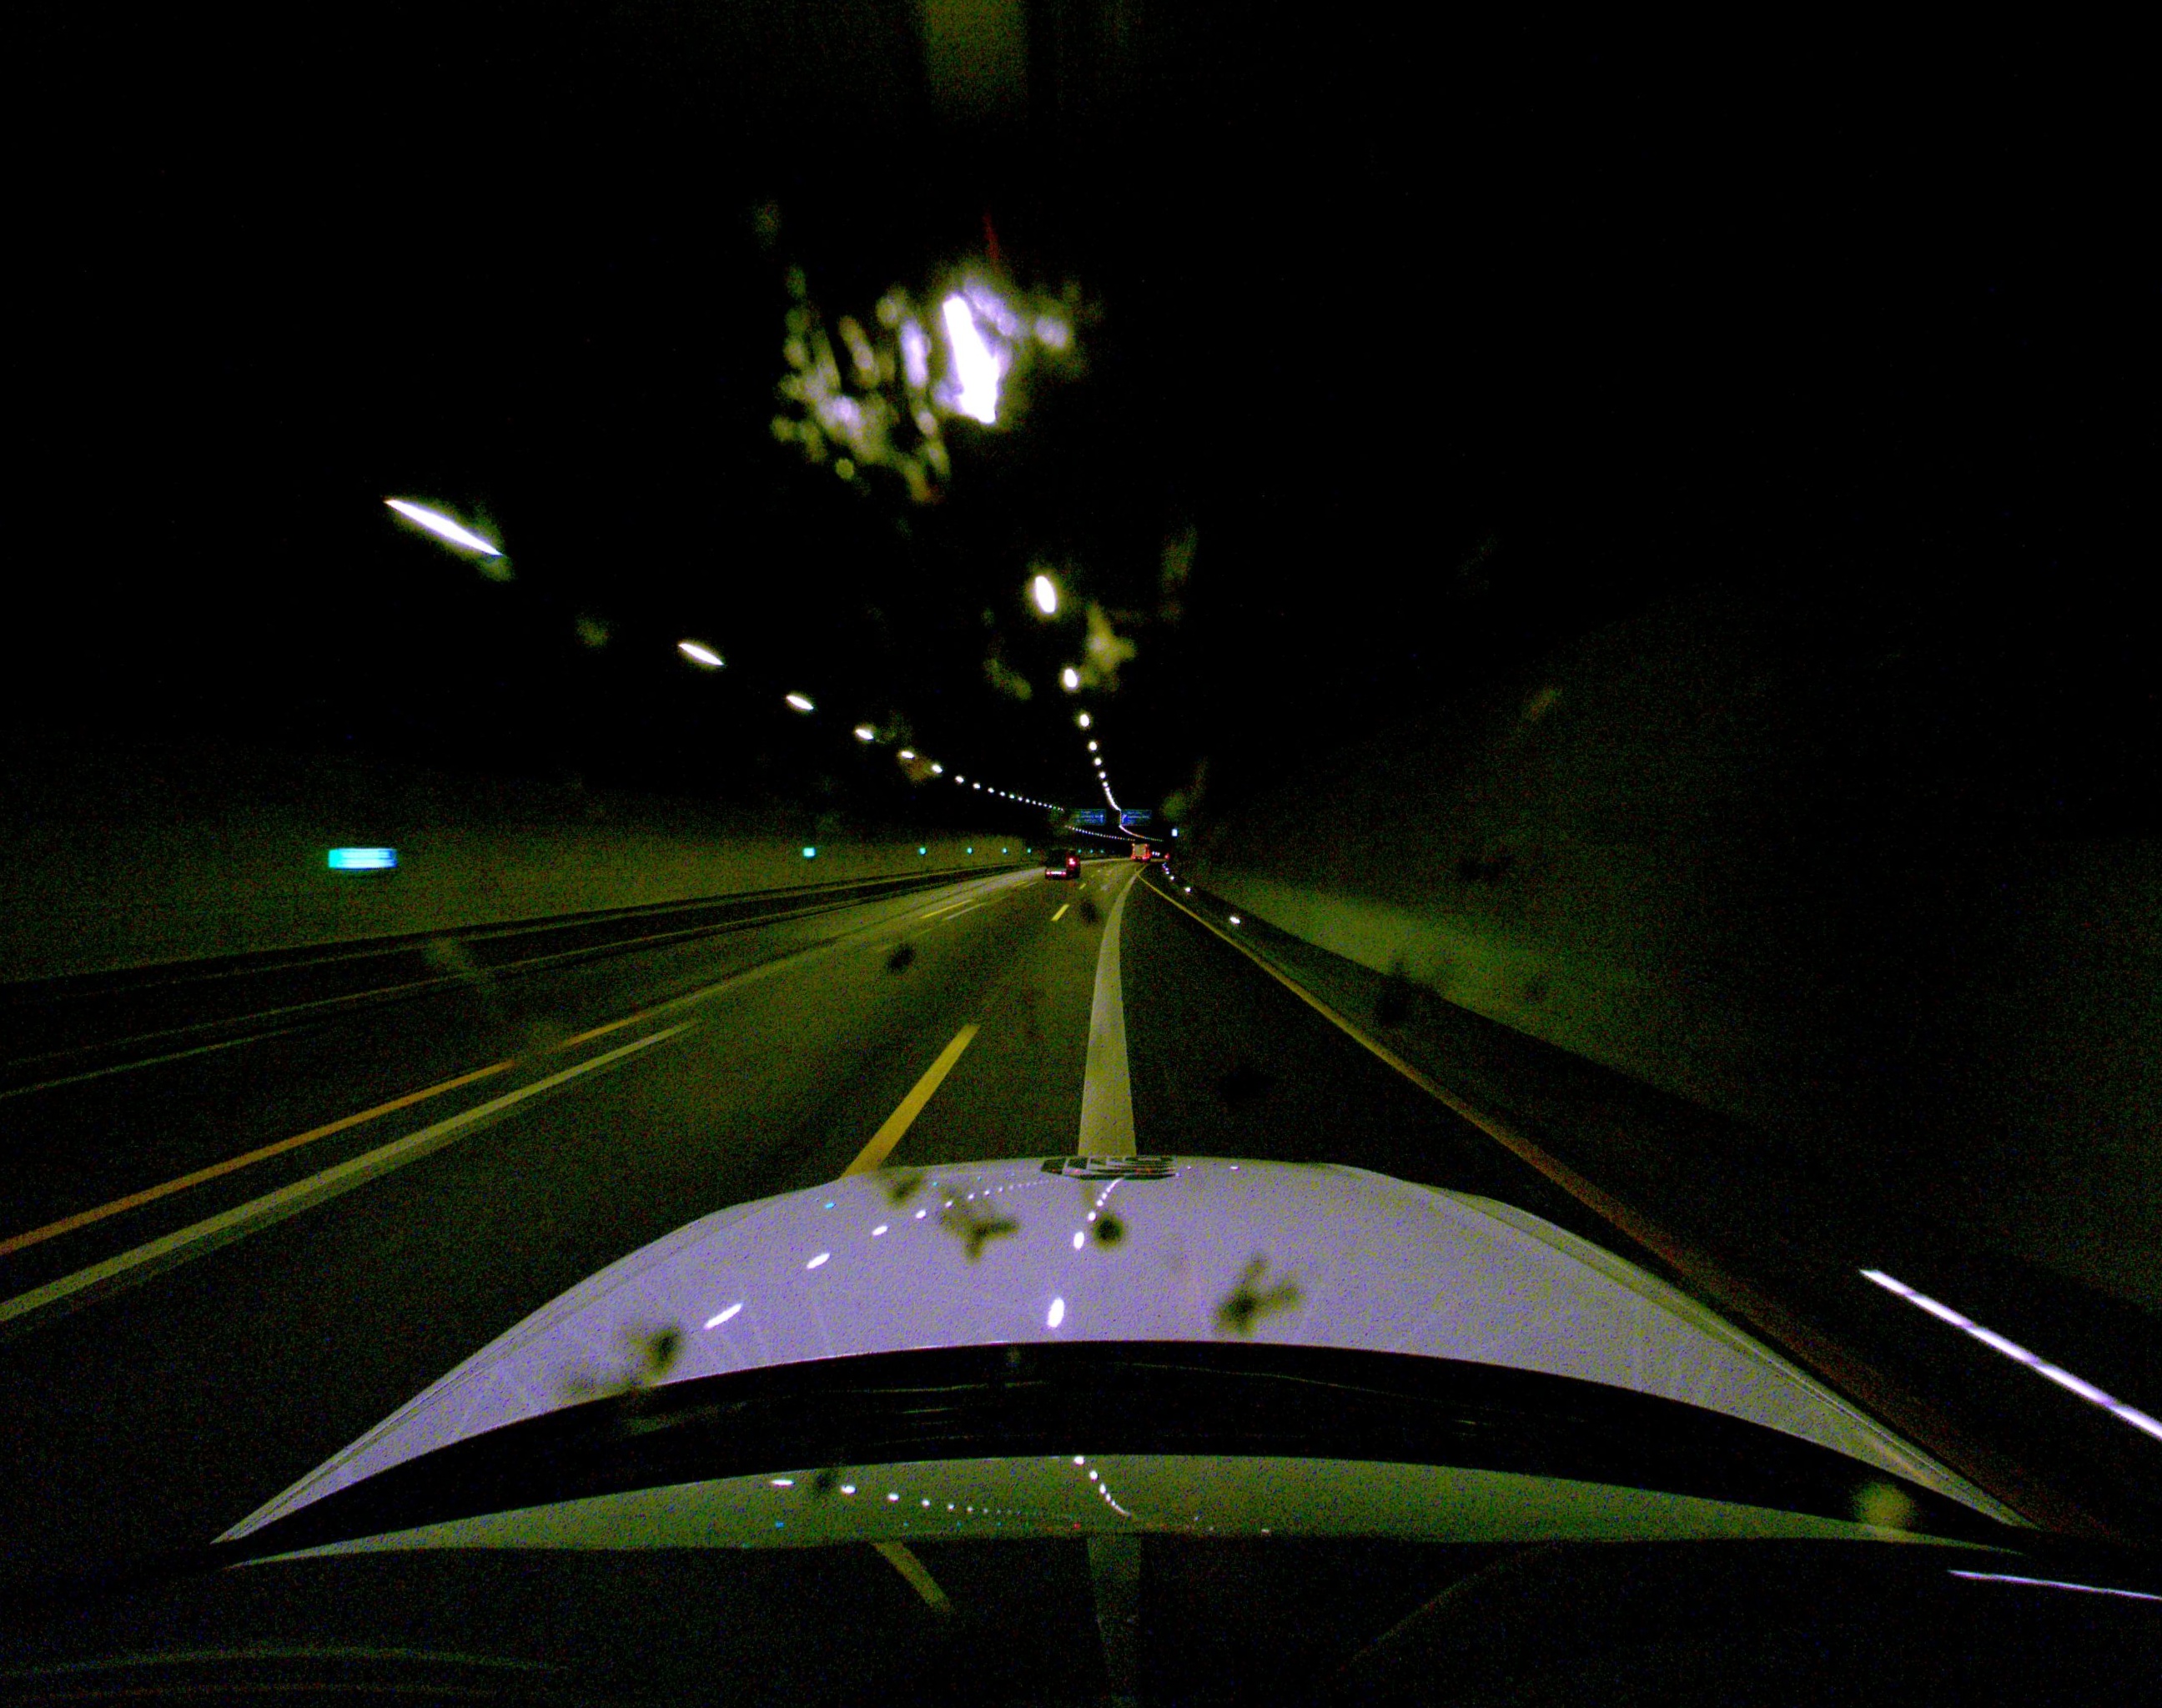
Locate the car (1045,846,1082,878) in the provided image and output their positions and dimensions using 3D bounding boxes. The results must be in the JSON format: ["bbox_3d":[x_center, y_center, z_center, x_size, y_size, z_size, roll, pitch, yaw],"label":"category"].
[{"bbox_3d":[-1.092,0.558,53.308,1.985,1.895,5.456,-1,-2,3],"label":"car"}]

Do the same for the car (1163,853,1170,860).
[{"bbox_3d":[23.495,0.689,223.747,1.983,1.895,5.543,-1,0,7],"label":"car"}]

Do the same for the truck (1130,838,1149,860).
[{"bbox_3d":[11.809,-1.006,163.751,3.457,4.316,10.968,1,0,5],"label":"truck"}]
